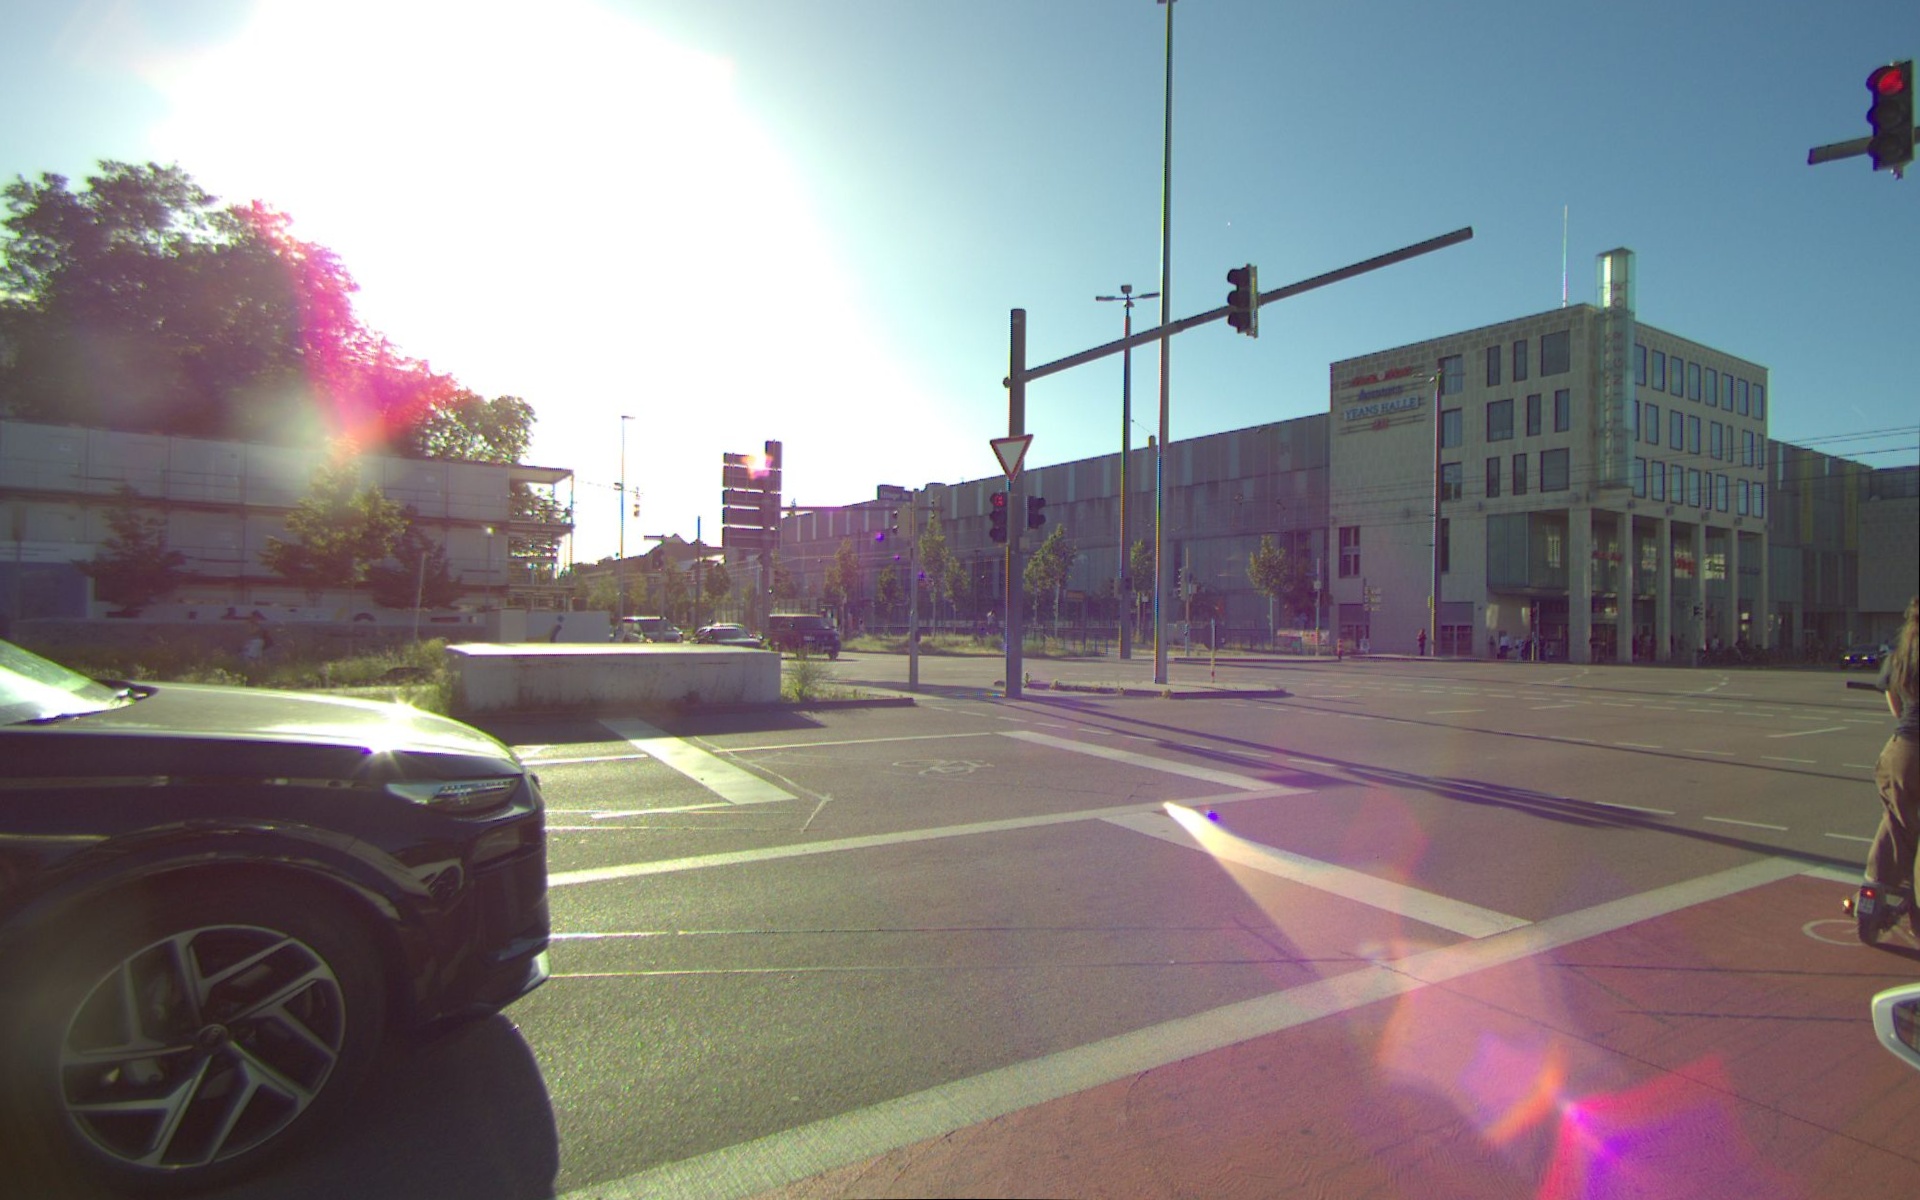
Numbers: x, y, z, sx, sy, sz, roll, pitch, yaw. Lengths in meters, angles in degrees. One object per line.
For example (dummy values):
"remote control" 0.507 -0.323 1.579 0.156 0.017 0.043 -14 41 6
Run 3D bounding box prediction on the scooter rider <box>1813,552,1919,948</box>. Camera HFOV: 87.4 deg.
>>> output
"scooter rider" 4.697 0.688 4.793 0.801 1.798 0.725 1 -1 -30

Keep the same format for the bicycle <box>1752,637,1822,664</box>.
"bicycle" 54.499 3.322 66.250 0.979 1.719 3.462 1 -2 -40

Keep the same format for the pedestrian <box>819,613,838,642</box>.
"pedestrian" -8.558 1.780 65.306 0.891 1.855 0.786 2 -2 -40

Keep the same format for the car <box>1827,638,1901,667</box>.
"car" 50.294 2.913 55.877 3.953 1.505 1.984 1 -1 -30

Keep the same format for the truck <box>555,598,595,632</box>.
"truck" -33.484 1.321 87.248 1.979 2.875 6.293 1 -2 -33

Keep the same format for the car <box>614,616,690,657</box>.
"car" -14.766 1.699 48.048 1.981 1.849 4.821 1 -2 -36

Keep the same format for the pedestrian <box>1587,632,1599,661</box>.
"pedestrian" 36.678 2.705 58.168 0.532 1.664 0.549 0 -1 28

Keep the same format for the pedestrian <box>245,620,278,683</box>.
"pedestrian" -18.796 1.377 27.035 0.619 1.674 0.935 1 -1 -30

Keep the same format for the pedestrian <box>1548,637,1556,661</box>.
"pedestrian" 35.478 2.913 60.166 0.381 1.431 0.436 0 -1 34

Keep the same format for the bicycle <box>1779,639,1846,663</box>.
"bicycle" 58.868 3.481 69.387 0.979 1.547 3.462 2 -2 -40

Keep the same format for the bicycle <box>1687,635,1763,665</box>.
"bicycle" 45.694 2.977 60.030 1.107 1.719 3.465 1 -2 -38

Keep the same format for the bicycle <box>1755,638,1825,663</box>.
"bicycle" 55.251 3.330 66.919 0.979 1.547 3.462 2 -2 -40

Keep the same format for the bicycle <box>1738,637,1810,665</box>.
"bicycle" 51.940 3.228 64.156 0.979 1.719 3.462 1 -2 -40

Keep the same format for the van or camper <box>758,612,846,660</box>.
"van or camper" -7.225 1.590 45.559 1.981 2.040 4.821 1 -2 -36

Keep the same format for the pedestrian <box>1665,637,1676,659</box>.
"pedestrian" 50.898 3.425 71.980 0.592 1.606 0.479 1 -1 -34

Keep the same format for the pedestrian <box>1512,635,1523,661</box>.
"pedestrian" 34.119 2.938 61.451 0.453 1.547 0.418 1 -1 -37

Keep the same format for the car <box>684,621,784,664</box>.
"car" -9.404 1.702 41.510 2.313 1.671 4.821 1 -2 -37

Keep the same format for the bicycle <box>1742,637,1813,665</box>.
"bicycle" 52.854 3.260 64.960 0.979 1.719 3.462 1 -2 -40

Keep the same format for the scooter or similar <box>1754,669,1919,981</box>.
"scooter or similar" 4.527 0.964 4.702 1.645 1.218 0.725 1 -1 -30

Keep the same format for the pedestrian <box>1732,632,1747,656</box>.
"pedestrian" 53.338 3.018 68.707 0.689 1.664 0.648 1 -1 -38

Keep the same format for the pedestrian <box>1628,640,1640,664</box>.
"pedestrian" 44.241 3.407 65.957 0.508 1.606 0.479 1 -1 -34

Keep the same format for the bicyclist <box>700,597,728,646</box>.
"bicyclist" -13.717 1.194 55.982 1.007 2.677 1.610 1 -1 -34

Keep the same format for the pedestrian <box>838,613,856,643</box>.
"pedestrian" -7.181 1.792 63.798 0.889 1.855 0.787 1 -1 -35

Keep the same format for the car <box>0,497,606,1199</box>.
"car" -3.464 0.591 2.515 4.565 1.666 1.922 1 -1 -32

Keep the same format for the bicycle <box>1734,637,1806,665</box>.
"bicycle" 51.114 3.191 63.422 0.979 1.719 3.462 1 -2 -40

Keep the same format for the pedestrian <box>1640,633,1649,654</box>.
"pedestrian" 47.458 3.036 69.666 0.363 1.458 0.384 1 -1 -34

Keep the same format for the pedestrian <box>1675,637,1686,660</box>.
"pedestrian" 51.303 3.435 71.499 0.592 1.606 0.479 1 -1 -34

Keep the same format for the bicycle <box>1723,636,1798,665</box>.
"bicycle" 49.138 3.081 61.737 1.107 1.719 3.465 1 -2 -38

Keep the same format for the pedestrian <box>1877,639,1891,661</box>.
"pedestrian" 70.288 3.786 76.417 0.684 1.664 0.696 0 -1 38

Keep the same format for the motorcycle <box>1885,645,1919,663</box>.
"motorcycle" 70.741 4.019 75.082 0.713 1.335 2.260 1 -2 -34

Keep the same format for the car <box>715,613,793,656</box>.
"car" -10.396 1.693 50.416 1.981 2.040 4.821 1 -2 -36

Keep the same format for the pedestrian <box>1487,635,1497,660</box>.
"pedestrian" 32.808 2.927 61.948 0.452 1.586 0.420 1 -1 -30

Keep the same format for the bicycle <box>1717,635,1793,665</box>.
"bicycle" 48.209 3.014 60.936 1.107 1.719 3.465 1 -2 -38

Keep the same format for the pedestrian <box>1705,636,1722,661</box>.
"pedestrian" 51.087 3.274 68.136 0.689 1.664 0.778 1 -1 -38

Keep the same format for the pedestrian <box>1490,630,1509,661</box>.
"pedestrian" 32.146 2.684 59.867 0.729 1.822 0.752 1 -1 -34

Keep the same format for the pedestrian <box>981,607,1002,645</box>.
"pedestrian" 1.579 1.309 50.592 0.788 1.855 0.706 1 -1 -37

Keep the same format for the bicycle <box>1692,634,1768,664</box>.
"bicycle" 46.580 2.967 60.803 1.107 1.719 3.465 1 -2 -38

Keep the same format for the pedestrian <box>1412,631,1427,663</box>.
"pedestrian" 24.450 2.491 53.438 0.543 1.716 0.521 1 -1 -40

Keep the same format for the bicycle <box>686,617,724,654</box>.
"bicycle" -14.511 1.976 57.149 1.007 2.040 3.472 1 -2 -33

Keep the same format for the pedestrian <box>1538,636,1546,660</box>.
"pedestrian" 35.034 2.893 60.451 0.381 1.445 0.501 0 -1 34

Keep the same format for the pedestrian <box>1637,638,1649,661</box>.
"pedestrian" 44.923 3.251 66.080 0.508 1.530 0.479 1 -1 -34
